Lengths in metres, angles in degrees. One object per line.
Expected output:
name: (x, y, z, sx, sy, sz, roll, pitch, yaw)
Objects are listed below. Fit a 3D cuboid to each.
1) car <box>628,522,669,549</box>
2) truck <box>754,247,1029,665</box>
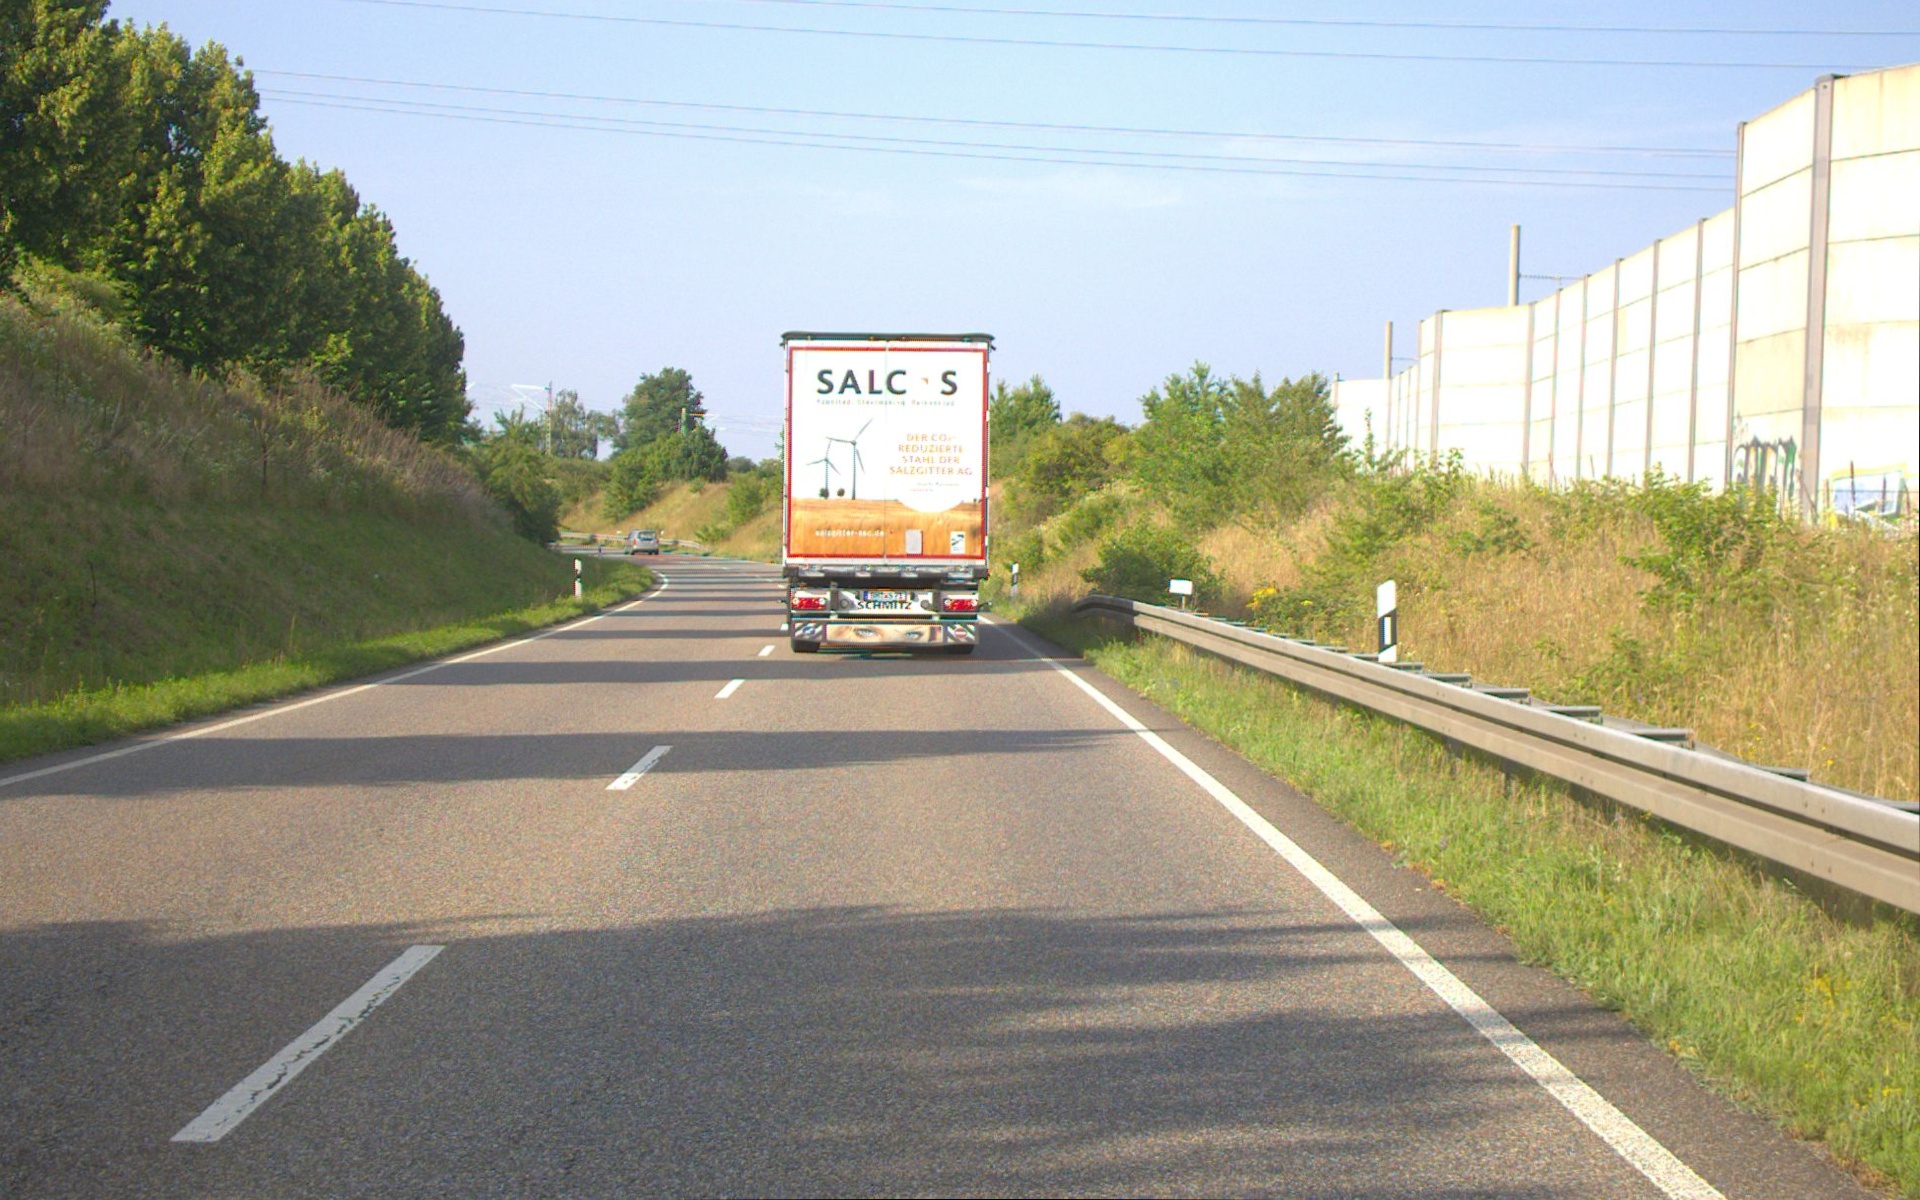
car: (-18.846, -3.935, 208.069, 2.046, 1.576, 4.360, 1, 1, 0)
truck: (-1.050, -1.925, 48.104, 3.290, 5.072, 12.039, 1, 2, -2)
